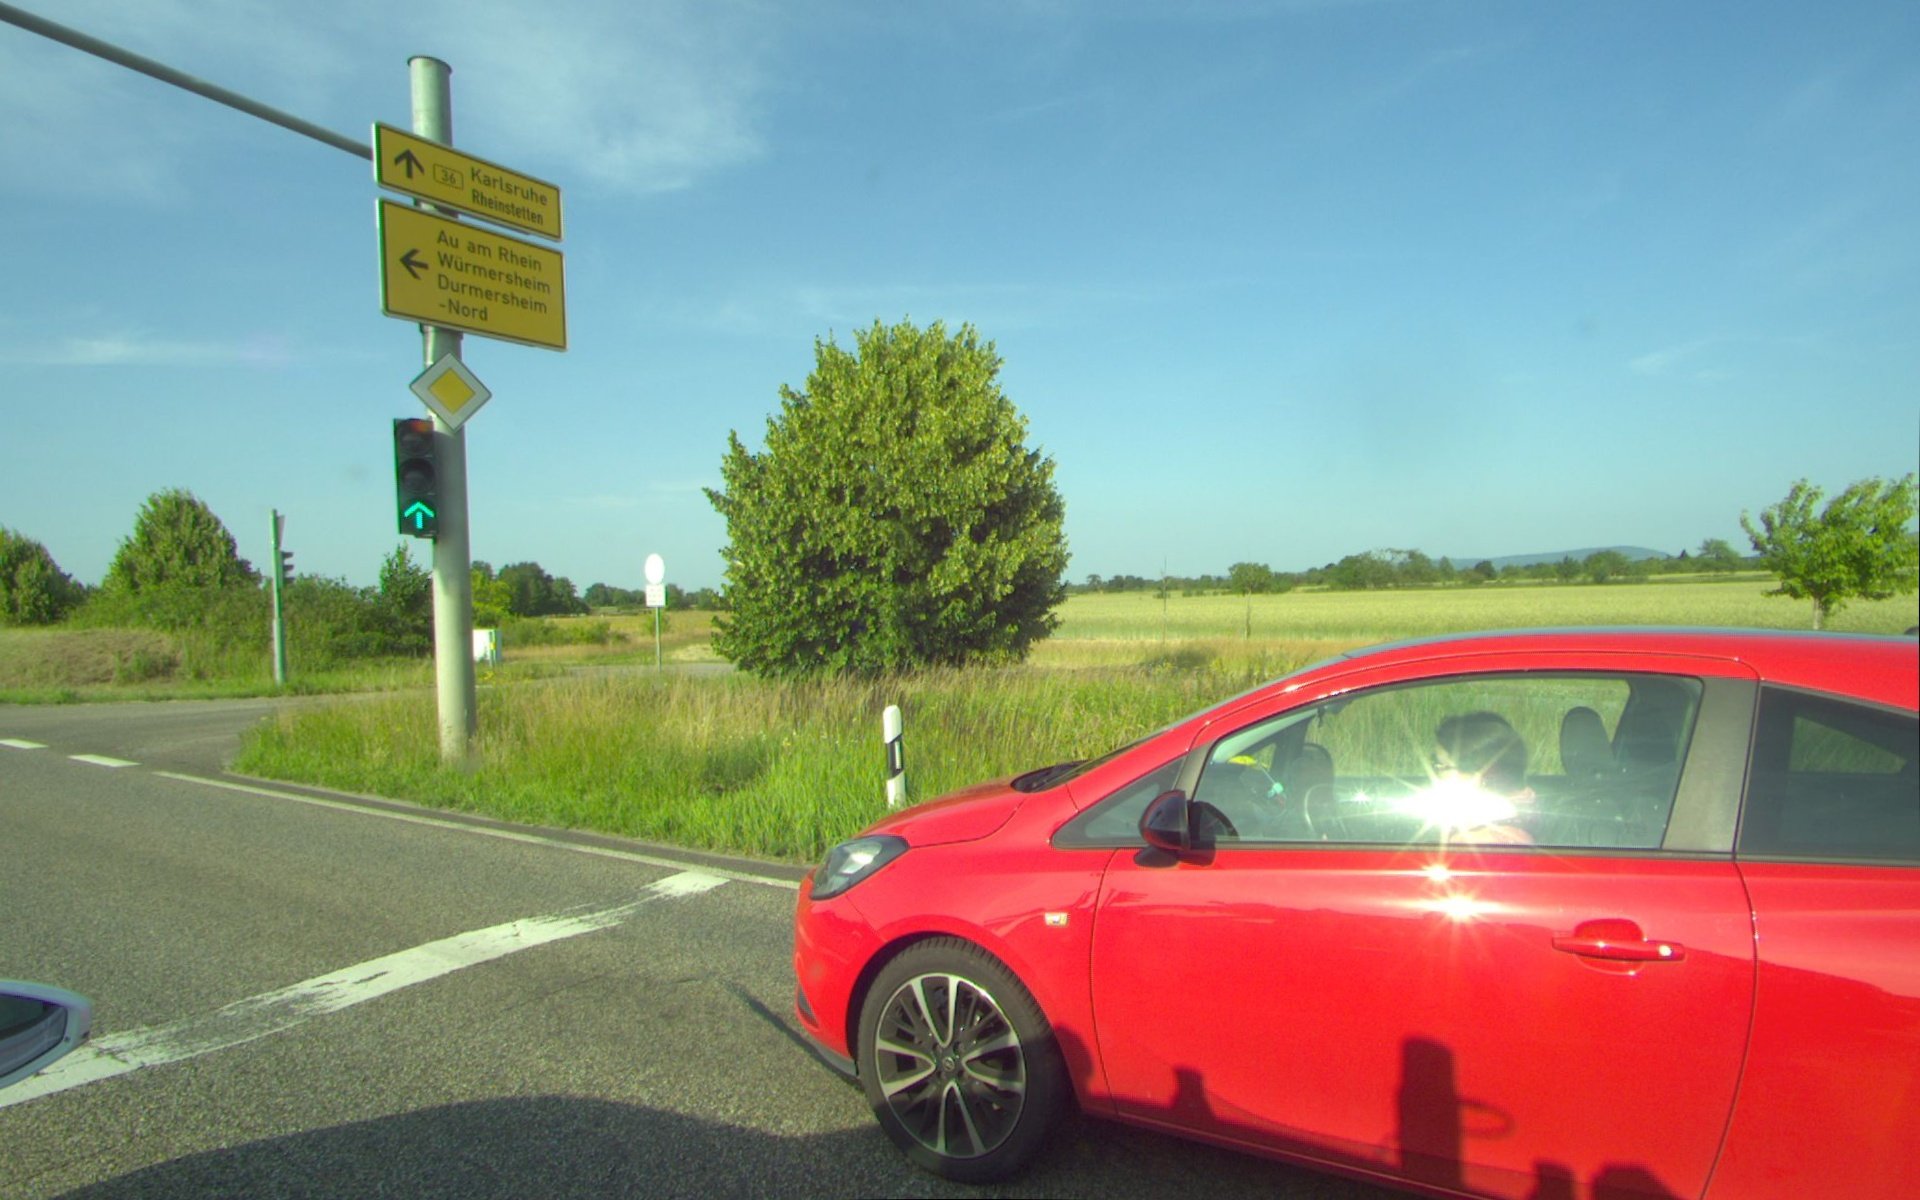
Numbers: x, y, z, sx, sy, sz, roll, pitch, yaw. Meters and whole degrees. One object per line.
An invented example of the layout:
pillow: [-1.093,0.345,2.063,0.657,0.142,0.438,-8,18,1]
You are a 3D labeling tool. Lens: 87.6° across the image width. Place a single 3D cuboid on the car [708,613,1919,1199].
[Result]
car: [1.334,0.790,2.800,3.895,1.483,1.660,-1,-1,29]
